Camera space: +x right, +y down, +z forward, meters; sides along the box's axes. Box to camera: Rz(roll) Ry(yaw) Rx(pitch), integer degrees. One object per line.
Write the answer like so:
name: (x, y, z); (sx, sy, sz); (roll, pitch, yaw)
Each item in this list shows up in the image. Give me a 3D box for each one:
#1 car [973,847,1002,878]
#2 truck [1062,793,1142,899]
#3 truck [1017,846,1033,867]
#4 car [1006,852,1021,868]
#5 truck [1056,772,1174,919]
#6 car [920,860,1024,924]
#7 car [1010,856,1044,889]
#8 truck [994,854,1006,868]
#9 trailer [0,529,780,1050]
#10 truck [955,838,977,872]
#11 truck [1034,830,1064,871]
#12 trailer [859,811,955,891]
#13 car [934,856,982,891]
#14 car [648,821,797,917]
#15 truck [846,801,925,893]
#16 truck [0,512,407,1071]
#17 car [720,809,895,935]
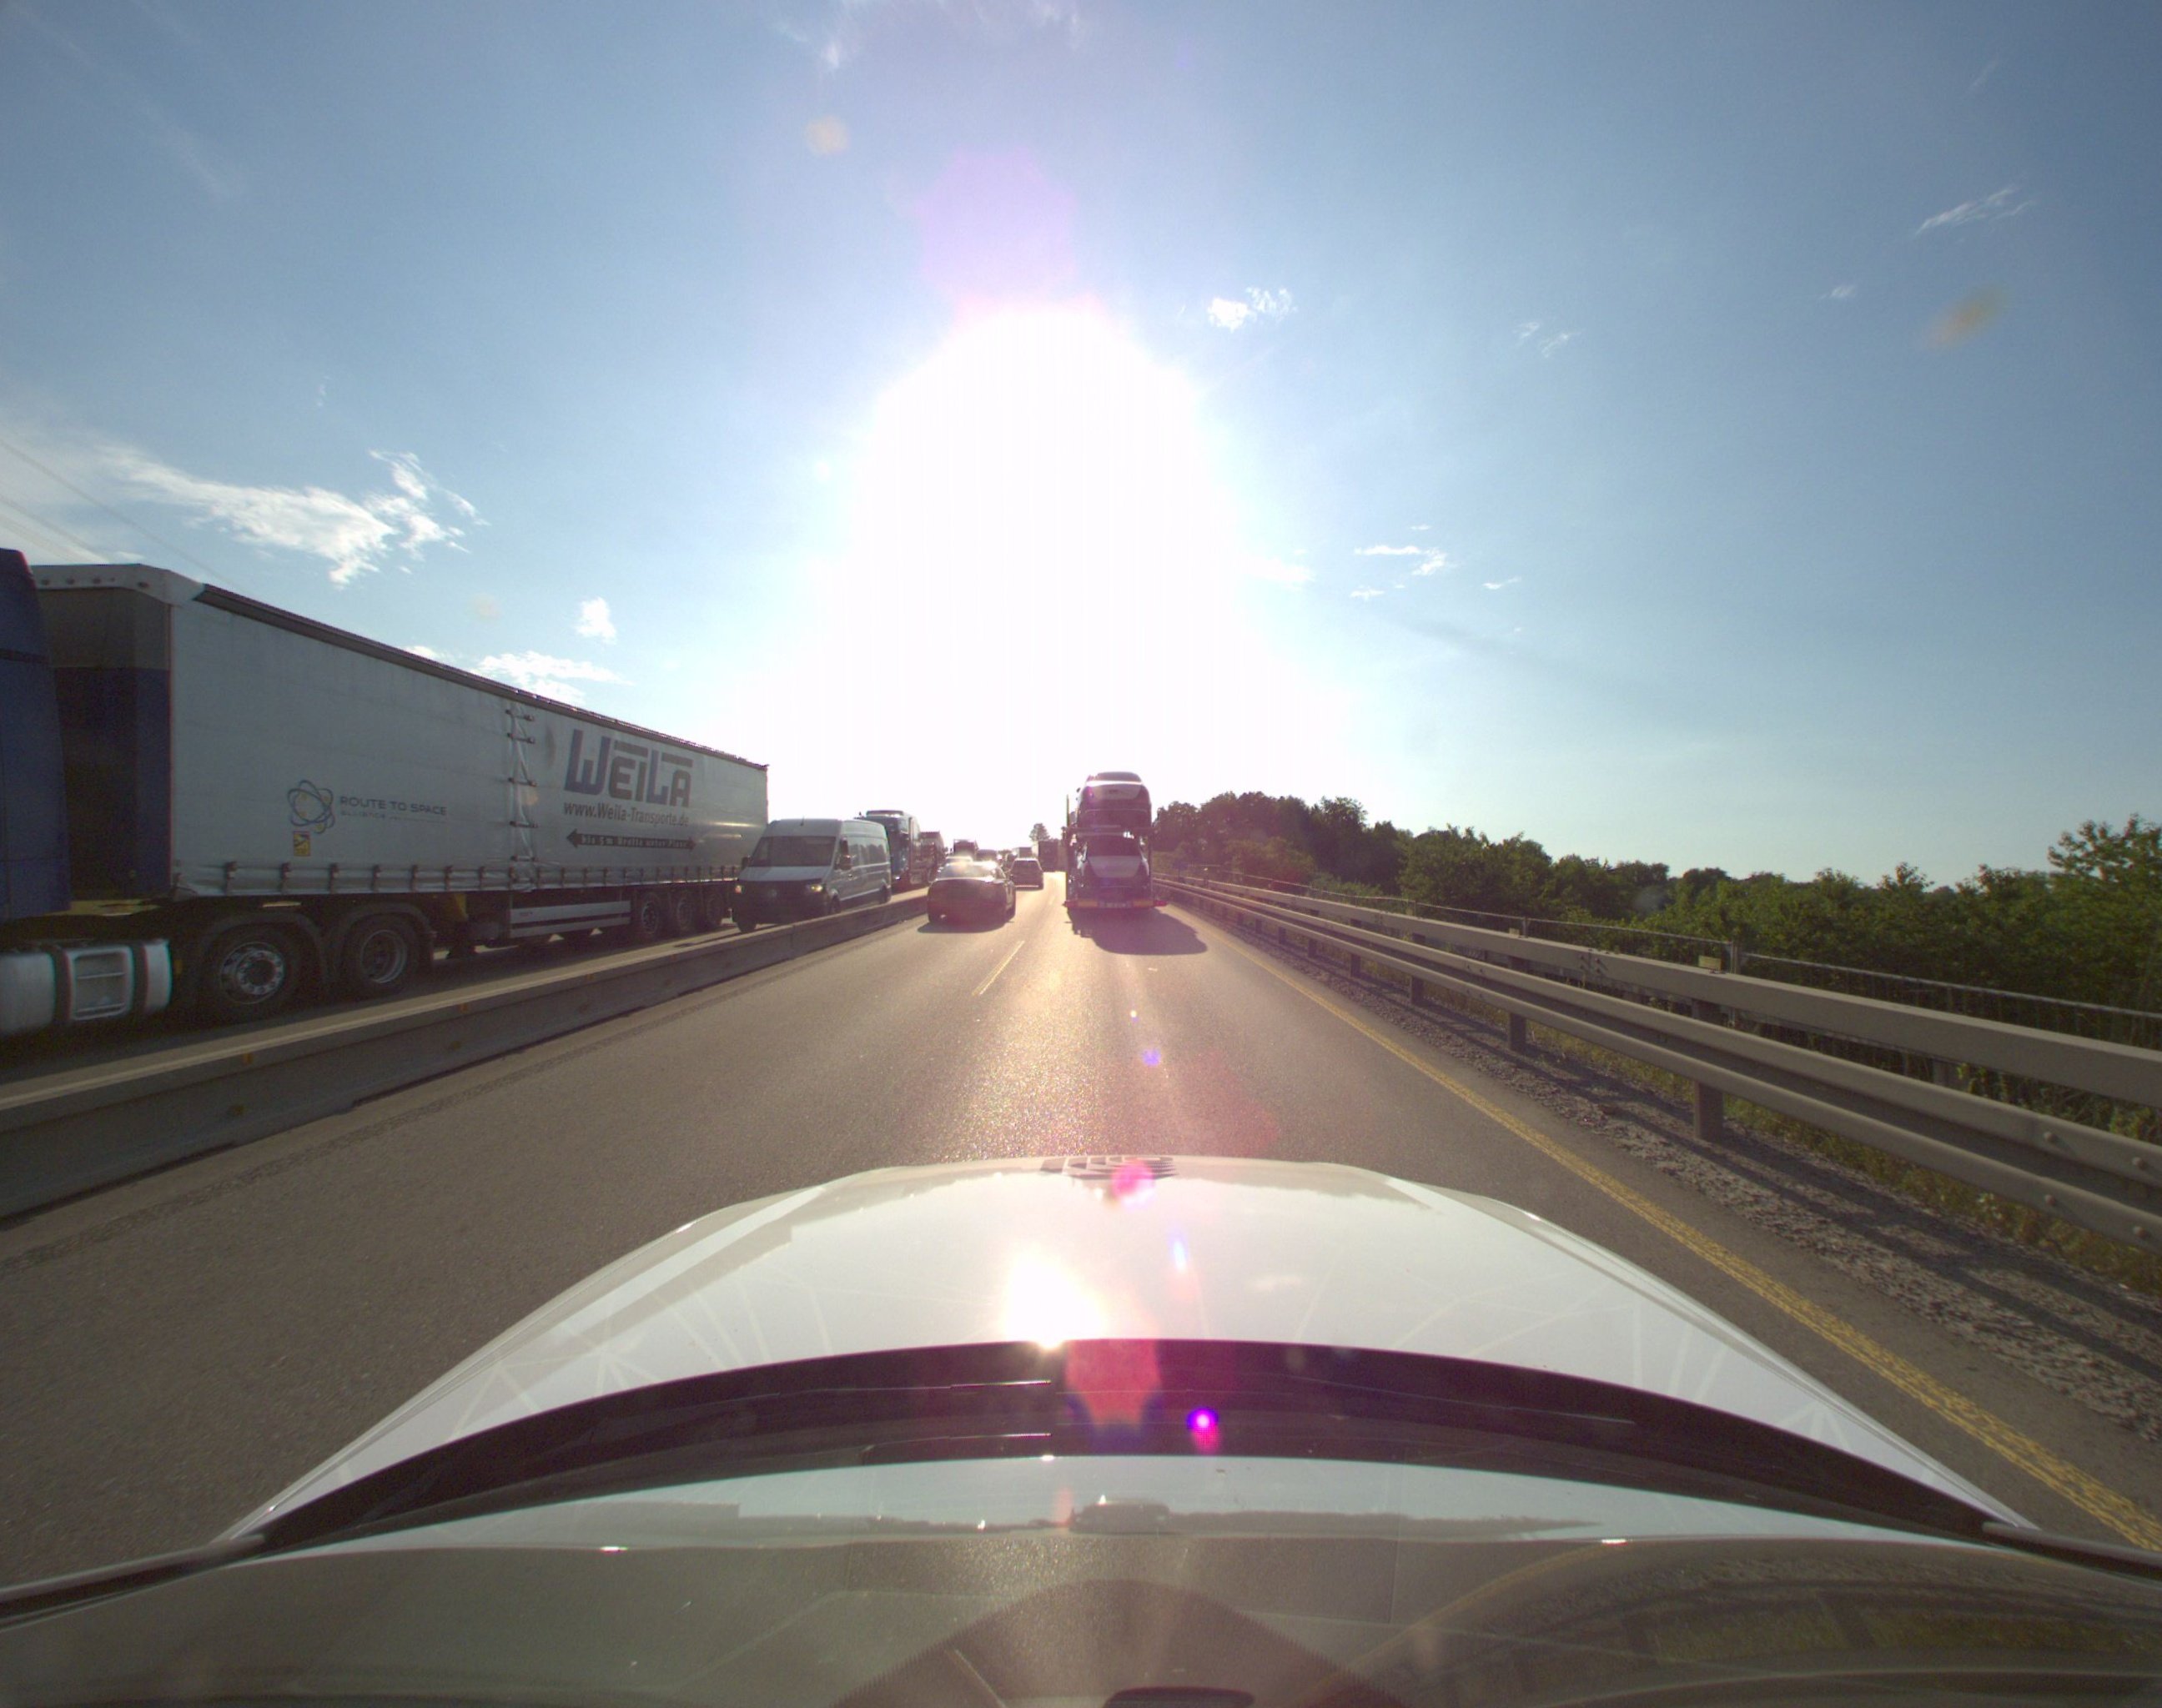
car: (-8.072, 0.735, 70.807); (2.100, 2.482, 6.059); (-1, 0, -3)
truck: (0.764, -0.264, 34.394); (2.829, 3.792, 9.985); (-1, 0, 0)
truck: (-9.985, 0.424, 145.495); (2.525, 3.648, 8.896); (-1, 0, -3)
car: (-10.574, 0.922, 127.728); (1.914, 2.492, 5.408); (-1, 0, 0)
truck: (0.764, -0.175, 24.877); (2.791, 3.497, 10.600); (-1, 0, -1)
car: (-2.676, 0.886, 21.153); (1.928, 1.399, 4.961); (-1, 0, 1)
car: (-2.815, 0.951, 42.922); (1.688, 1.596, 3.995); (-1, 0, -4)
truck: (-19.263, 1.591, 194.117); (2.585, 3.170, 6.668); (-1, 0, -3)
trailer: (-8.971, -0.455, 13.747); (2.299, 4.130, 14.598); (-1, 0, 0)
truck: (-13.237, 0.181, 93.556); (2.312, 3.607, 11.937); (-1, 0, -8)
truck: (-4.481, -0.402, 111.502); (3.282, 5.237, 9.913); (-1, -1, -6)
trailer: (-9.715, -0.104, 47.641); (2.688, 3.873, 15.379); (-1, 0, -2)
car: (-6.375, 0.977, 42.685); (1.865, 1.694, 4.594); (-1, 0, -1)
car: (-10.716, 0.427, 24.905); (2.151, 2.557, 5.585); (-1, 0, -1)
truck: (-9.335, -0.300, 39.537); (2.496, 4.065, 5.880); (-1, -1, -2)
truck: (-9.071, -0.439, 6.494); (2.493, 4.065, 5.668); (-1, -1, 2)
car: (-6.259, 0.384, 19.728); (2.051, 2.500, 6.771); (-1, 0, -1)
